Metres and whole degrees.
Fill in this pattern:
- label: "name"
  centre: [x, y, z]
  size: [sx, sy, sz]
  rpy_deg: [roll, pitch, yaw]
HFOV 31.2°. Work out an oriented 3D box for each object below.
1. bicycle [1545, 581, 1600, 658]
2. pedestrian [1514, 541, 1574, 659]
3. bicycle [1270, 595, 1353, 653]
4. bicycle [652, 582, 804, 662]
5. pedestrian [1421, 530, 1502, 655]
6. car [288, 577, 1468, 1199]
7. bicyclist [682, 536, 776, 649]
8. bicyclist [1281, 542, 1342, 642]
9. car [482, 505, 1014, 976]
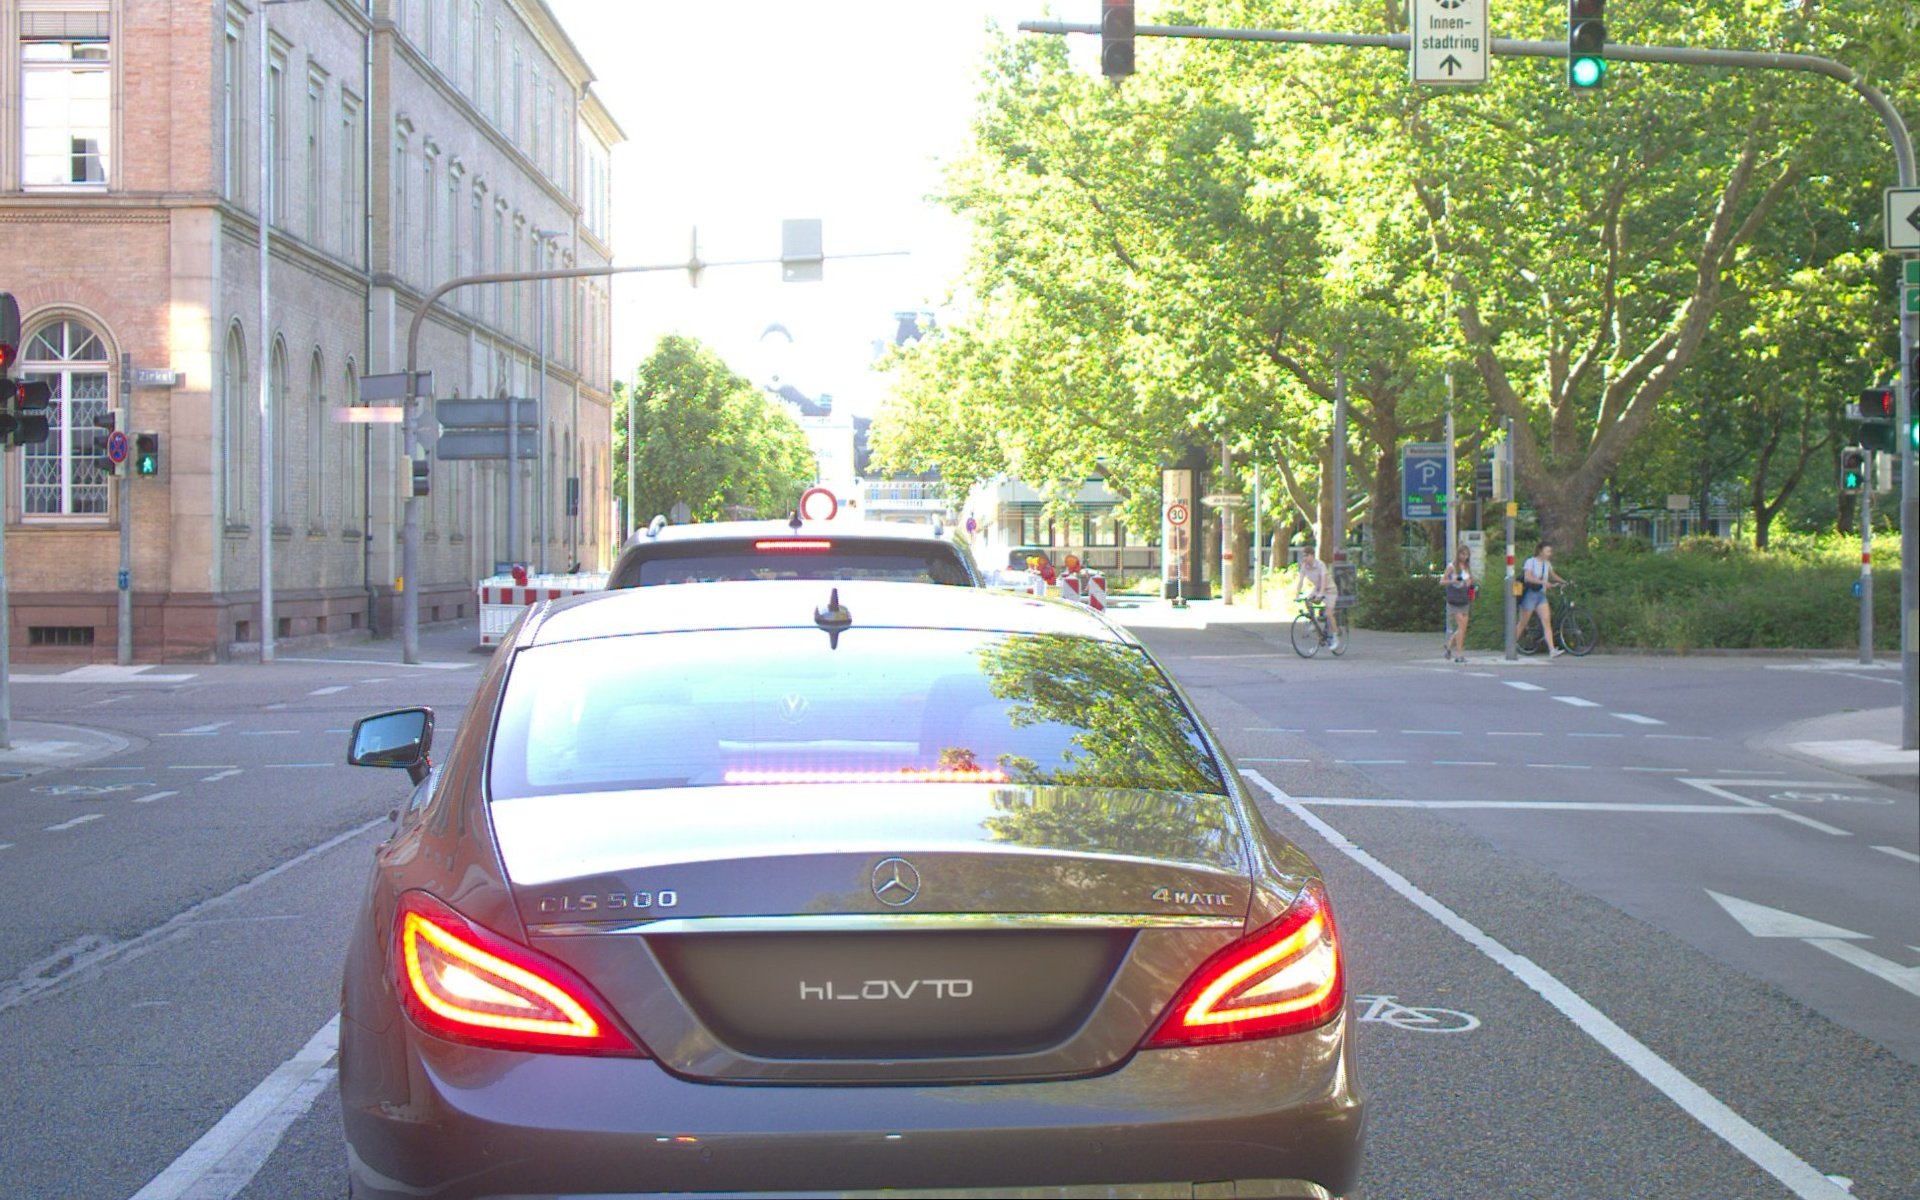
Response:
- label: "bicycle"
  centre: [8.883, 0.273, 49.895]
  size: [0.524, 1.096, 1.741]
  rpy_deg: [1, 1, 2]
- label: "pedestrian"
  centre: [8.510, -0.009, 50.102]
  size: [0.683, 1.691, 0.971]
  rpy_deg: [1, 0, -1]
- label: "bicycle"
  centre: [5.560, 0.372, 54.255]
  size: [0.549, 0.888, 1.864]
  rpy_deg: [1, 1, 31]
- label: "bicycle"
  centre: [-3.129, 0.293, 46.390]
  size: [1.957, 1.059, 0.706]
  rpy_deg: [0, 1, -36]
- label: "pedestrian"
  centre: [7.321, -0.107, 50.204]
  size: [0.732, 1.802, 0.909]
  rpy_deg: [0, -1, -30]
- label: "car"
  centre: [-0.387, 0.684, 7.627]
  size: [1.842, 1.424, 4.518]
  rpy_deg: [1, 1, -7]
- label: "bicyclist"
  centre: [-3.112, -0.105, 46.379]
  size: [0.950, 1.495, 0.822]
  rpy_deg: [0, 1, -37]
- label: "bicyclist"
  centre: [5.544, -0.125, 54.186]
  size: [0.649, 1.553, 0.805]
  rpy_deg: [1, 0, 31]
- label: "car"
  centre: [-0.695, 0.463, 13.777]
  size: [1.809, 1.607, 4.000]
  rpy_deg: [0, 1, 1]
